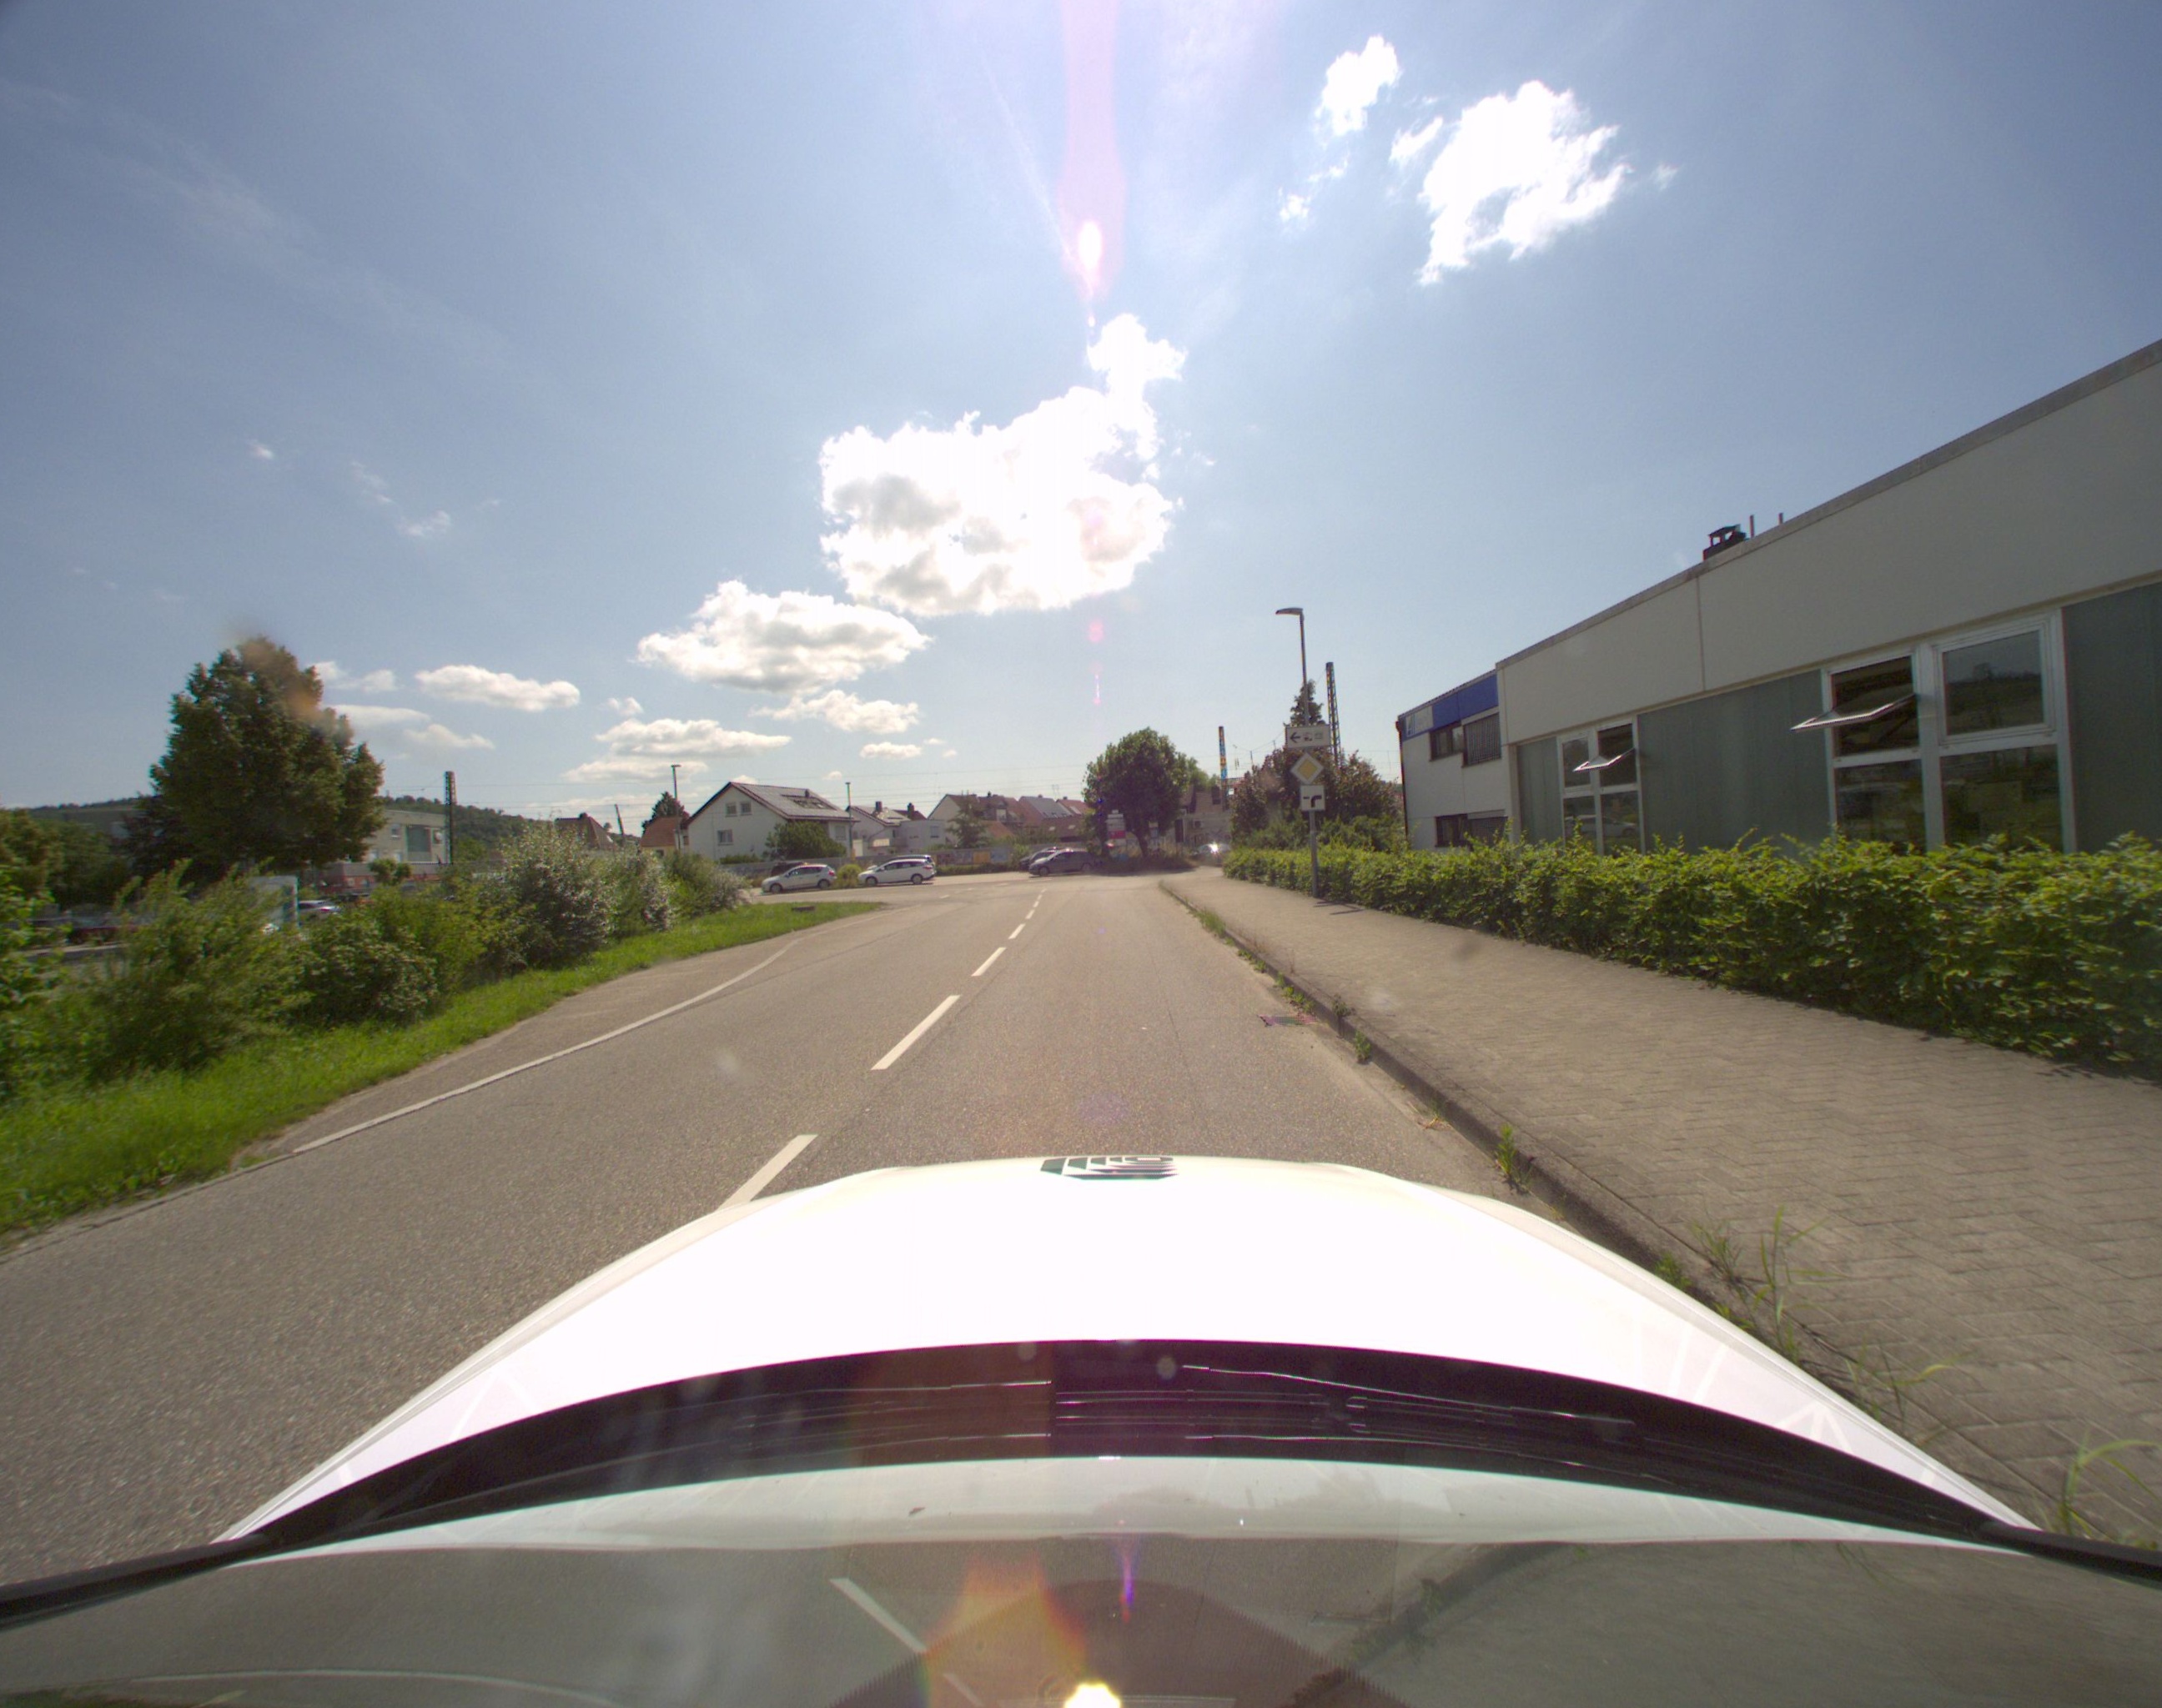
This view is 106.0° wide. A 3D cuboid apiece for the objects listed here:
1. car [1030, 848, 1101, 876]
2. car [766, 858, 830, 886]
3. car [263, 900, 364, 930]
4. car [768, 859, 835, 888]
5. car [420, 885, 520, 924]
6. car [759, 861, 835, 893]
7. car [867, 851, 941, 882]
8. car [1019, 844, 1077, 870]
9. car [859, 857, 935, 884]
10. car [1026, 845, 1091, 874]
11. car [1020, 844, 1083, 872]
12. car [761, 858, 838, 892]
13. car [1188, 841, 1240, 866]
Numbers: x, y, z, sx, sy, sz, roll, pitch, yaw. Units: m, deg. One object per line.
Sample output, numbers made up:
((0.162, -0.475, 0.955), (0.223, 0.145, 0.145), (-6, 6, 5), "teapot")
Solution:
((-0.984, 0.487, 50.394), (4.183, 1.463, 1.661), (-3, -1, -7), "car")
((-18.850, 1.211, 54.434), (3.836, 1.589, 1.490), (-4, 0, -14), "car")
((-44.361, 3.507, 47.157), (3.986, 1.313, 1.530), (-4, 0, -9), "car")
((-17.907, 1.250, 52.311), (3.785, 1.558, 1.687), (-4, 0, -12), "car")
((-35.002, 2.865, 46.781), (3.993, 1.891, 1.990), (-4, 0, -14), "car")
((-16.575, 1.332, 47.665), (4.009, 1.562, 1.812), (-3, 0, -16), "car")
((-11.546, 0.797, 53.313), (4.447, 1.690, 1.996), (-3, 1, -7), "car")
((-2.375, 0.219, 57.962), (3.984, 1.730, 1.765), (-1, -1, -8), "car")
((-10.937, 0.956, 48.648), (4.283, 1.477, 1.821), (-1, -1, -10), "car")
((-1.497, 0.335, 52.524), (3.984, 1.586, 1.775), (-4, 0, -8), "car")
((-2.038, 0.270, 55.330), (3.985, 1.657, 1.995), (-4, 0, -8), "car")
((-17.100, 1.262, 49.745), (4.168, 1.638, 1.945), (-5, 0, -15), "car")
((8.679, -0.081, 53.443), (1.757, 1.385, 3.977), (-2, 3, -18), "car")
